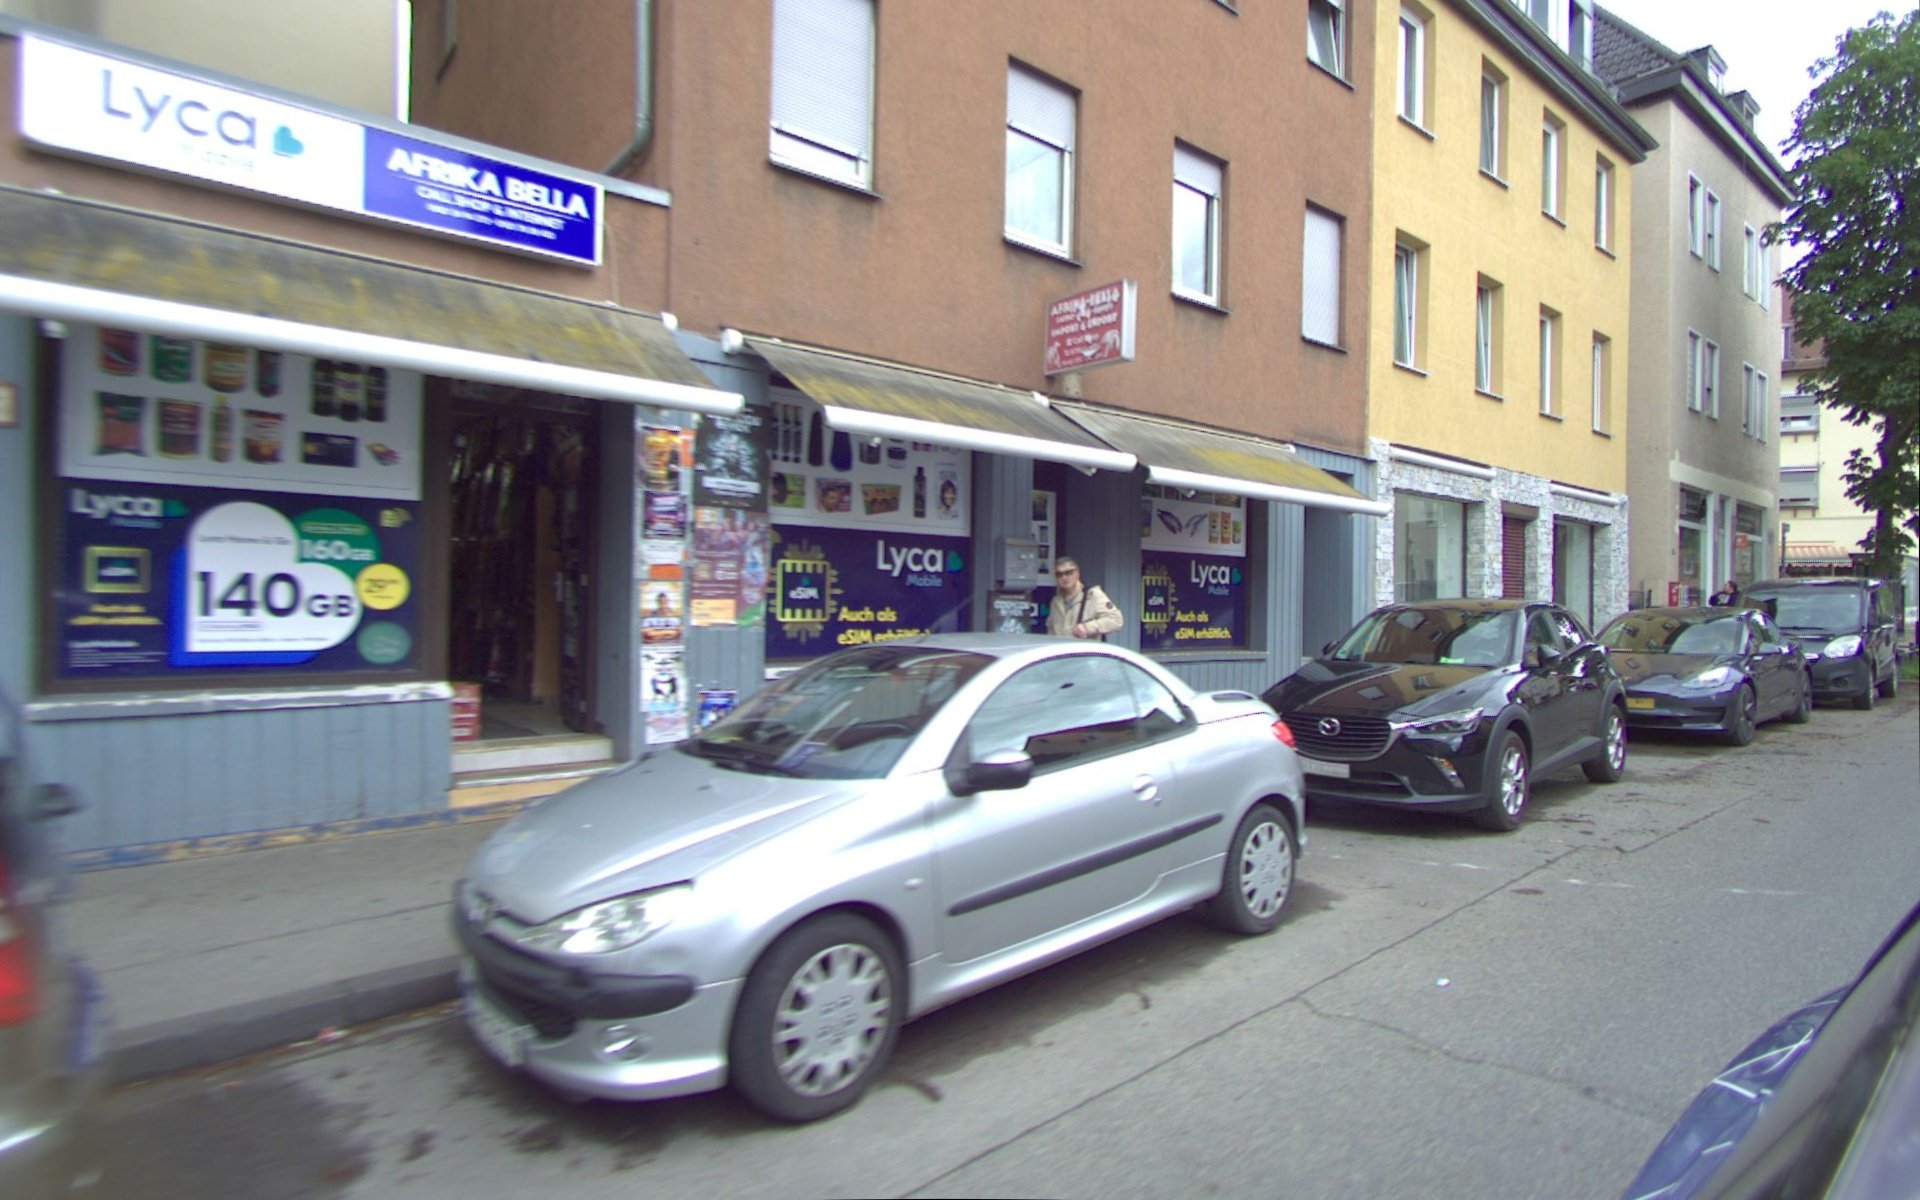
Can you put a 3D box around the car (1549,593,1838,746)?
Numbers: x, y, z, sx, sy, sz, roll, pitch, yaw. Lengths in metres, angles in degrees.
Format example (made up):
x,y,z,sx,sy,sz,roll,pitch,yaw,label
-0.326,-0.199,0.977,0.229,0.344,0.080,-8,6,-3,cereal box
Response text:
x,y,z,sx,sy,sz,roll,pitch,yaw,label
8.763,0.658,11.943,4.431,1.423,1.755,-1,2,-40,car

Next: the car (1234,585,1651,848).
x,y,z,sx,sy,sz,roll,pitch,yaw,label
3.975,0.665,7.971,4.139,1.537,1.603,-1,0,-44,car

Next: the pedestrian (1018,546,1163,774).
x,y,z,sx,sy,sz,roll,pitch,yaw,label
1.025,0.426,7.953,0.873,1.670,0.702,0,1,-41,pedestrian

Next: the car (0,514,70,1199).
x,y,z,sx,sy,sz,roll,pitch,yaw,label
-3.418,0.669,1.062,3.721,1.580,1.714,-1,1,-42,car

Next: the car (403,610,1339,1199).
x,y,z,sx,sy,sz,roll,pitch,yaw,label
-0.062,0.760,4.240,3.747,1.350,1.553,-1,1,-42,car

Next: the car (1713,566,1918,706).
x,y,z,sx,sy,sz,roll,pitch,yaw,label
12.902,0.429,15.160,4.328,1.803,1.822,-1,1,-43,car

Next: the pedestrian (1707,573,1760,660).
x,y,z,sx,sy,sz,roll,pitch,yaw,label
15.372,0.318,20.107,0.965,1.673,0.615,0,1,-41,pedestrian
